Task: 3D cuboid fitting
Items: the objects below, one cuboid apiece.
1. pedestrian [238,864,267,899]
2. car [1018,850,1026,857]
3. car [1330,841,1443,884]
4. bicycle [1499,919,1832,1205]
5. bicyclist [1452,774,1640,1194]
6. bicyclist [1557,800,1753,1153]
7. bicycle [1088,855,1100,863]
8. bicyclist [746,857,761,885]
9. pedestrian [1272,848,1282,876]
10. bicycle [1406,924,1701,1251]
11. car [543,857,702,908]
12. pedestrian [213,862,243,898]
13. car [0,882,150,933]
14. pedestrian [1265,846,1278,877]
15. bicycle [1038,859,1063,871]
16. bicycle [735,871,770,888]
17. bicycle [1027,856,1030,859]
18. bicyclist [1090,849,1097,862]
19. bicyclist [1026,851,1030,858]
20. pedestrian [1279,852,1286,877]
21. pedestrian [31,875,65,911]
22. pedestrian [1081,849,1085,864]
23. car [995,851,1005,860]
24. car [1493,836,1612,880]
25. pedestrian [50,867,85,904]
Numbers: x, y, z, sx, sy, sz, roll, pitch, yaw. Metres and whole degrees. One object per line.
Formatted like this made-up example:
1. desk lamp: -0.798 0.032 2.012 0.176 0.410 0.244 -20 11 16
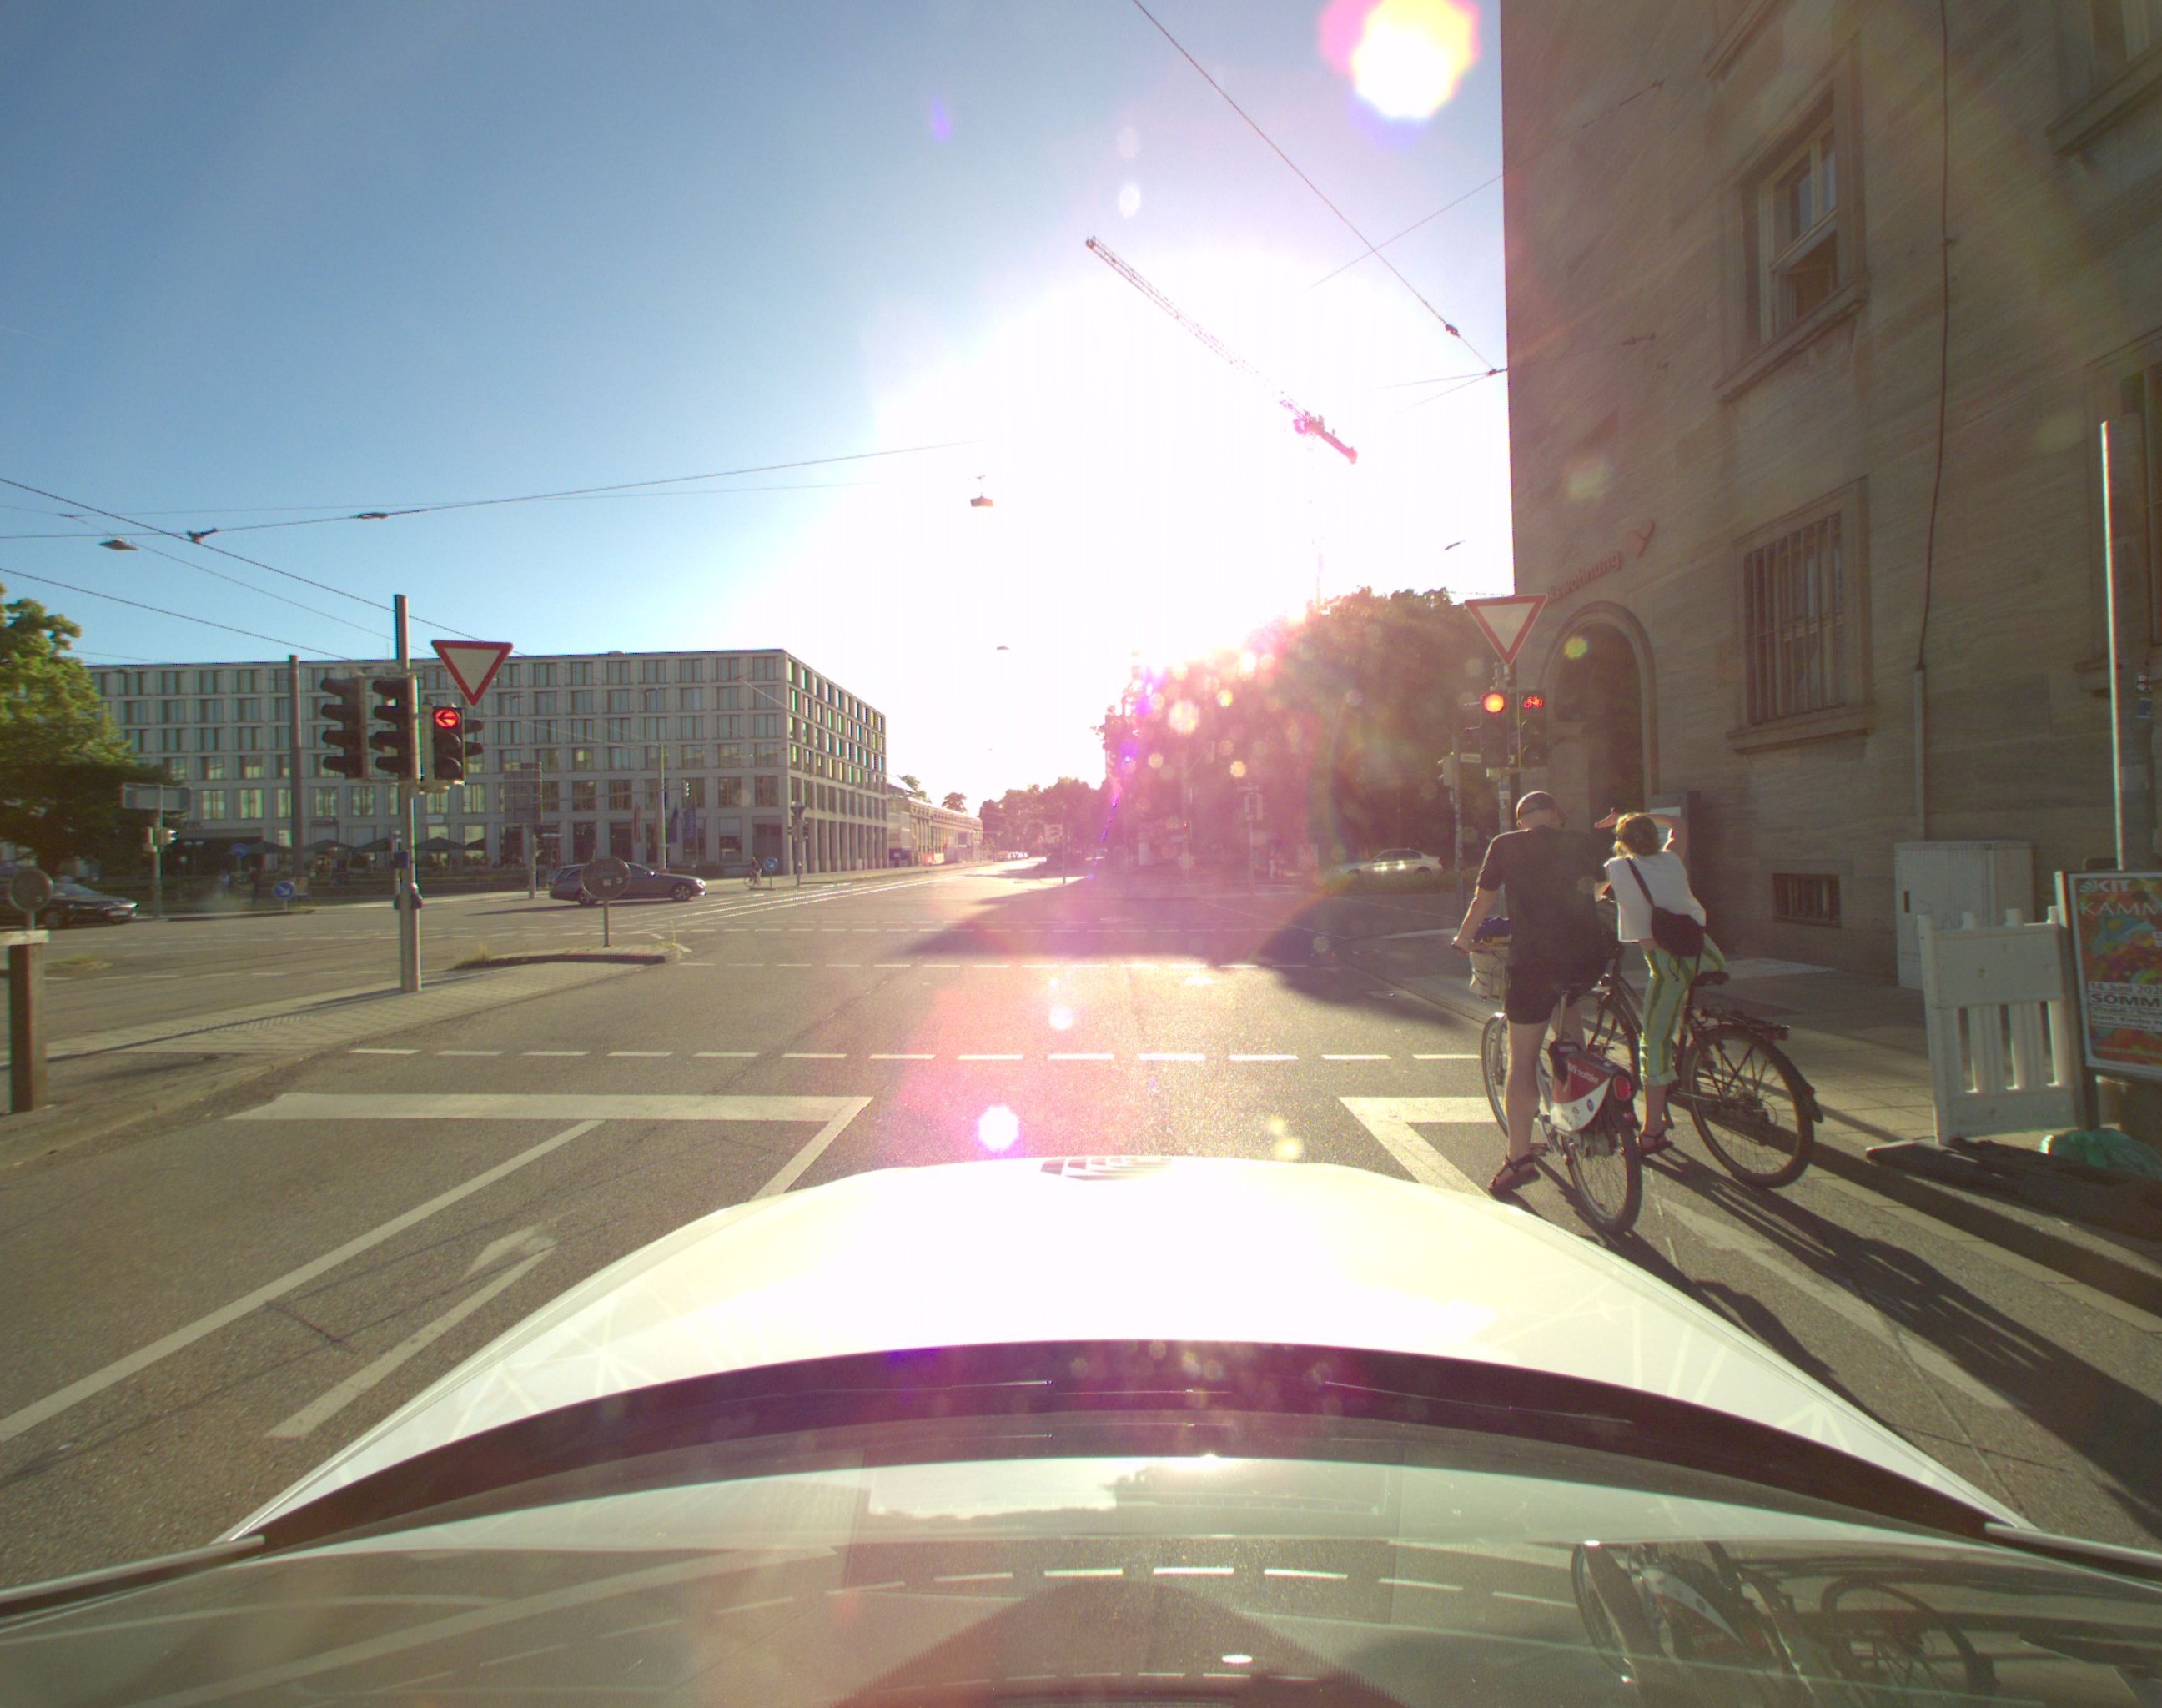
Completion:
1. pedestrian: -45.694 1.494 44.920 0.711 1.900 0.877 -1 -1 8
2. car: -14.219 -0.112 195.323 1.688 1.718 4.245 0 -1 -1
3. car: 12.418 0.349 33.253 3.979 1.611 1.650 -2 0 1
4. bicycle: 2.944 0.956 4.352 0.532 1.077 1.751 -1 0 1
5. bicyclist: 2.125 0.559 3.778 0.556 1.799 0.551 -1 0 3
6. bicyclist: 2.956 0.589 4.245 0.556 1.691 0.640 -1 0 0
7. bicycle: 1.644 0.658 106.176 0.579 1.077 1.811 -1 0 -35
8. bicyclist: -19.403 1.013 48.305 0.778 1.589 0.756 -2 0 -20
9. pedestrian: 10.699 0.430 44.473 0.437 1.503 0.437 -2 0 3
10. bicycle: 2.123 0.955 3.936 0.513 1.077 1.729 -1 0 4
11. car: -16.430 0.974 29.384 4.823 1.565 1.880 -2 0 -31
12. pedestrian: -47.835 1.451 45.694 0.837 2.014 0.827 -1 -1 11
13. car: -32.388 1.651 25.504 4.405 1.455 1.664 -1 0 -2
14. pedestrian: 10.285 0.393 44.016 0.580 1.663 0.515 0 1 4
15. bicycle: -2.563 0.906 67.704 1.996 0.891 0.655 -4 -1 29
16. bicycle: -19.474 1.509 48.317 1.865 0.935 0.757 -2 0 -23
17. bicycle: -10.819 0.686 166.833 0.499 0.515 1.258 0 -1 1
18. bicyclist: 1.632 0.148 106.165 0.573 1.691 0.692 -1 0 -35
19. bicyclist: -10.845 0.128 166.854 0.594 1.377 0.637 0 -1 0
20. pedestrian: 10.724 0.546 43.324 0.316 1.316 0.345 0 1 4
21. pedestrian: -56.012 2.093 44.161 0.714 1.900 0.873 0 -1 -5
22. pedestrian: 0.230 0.310 98.430 0.462 1.813 0.502 -2 0 -3
23. car: -15.651 0.268 157.073 1.688 1.718 4.245 0 -1 -1
24. car: 19.099 0.159 33.078 3.835 1.611 1.650 -2 0 1
25. pedestrian: -56.105 1.712 45.103 0.841 2.014 0.823 0 -1 -6
